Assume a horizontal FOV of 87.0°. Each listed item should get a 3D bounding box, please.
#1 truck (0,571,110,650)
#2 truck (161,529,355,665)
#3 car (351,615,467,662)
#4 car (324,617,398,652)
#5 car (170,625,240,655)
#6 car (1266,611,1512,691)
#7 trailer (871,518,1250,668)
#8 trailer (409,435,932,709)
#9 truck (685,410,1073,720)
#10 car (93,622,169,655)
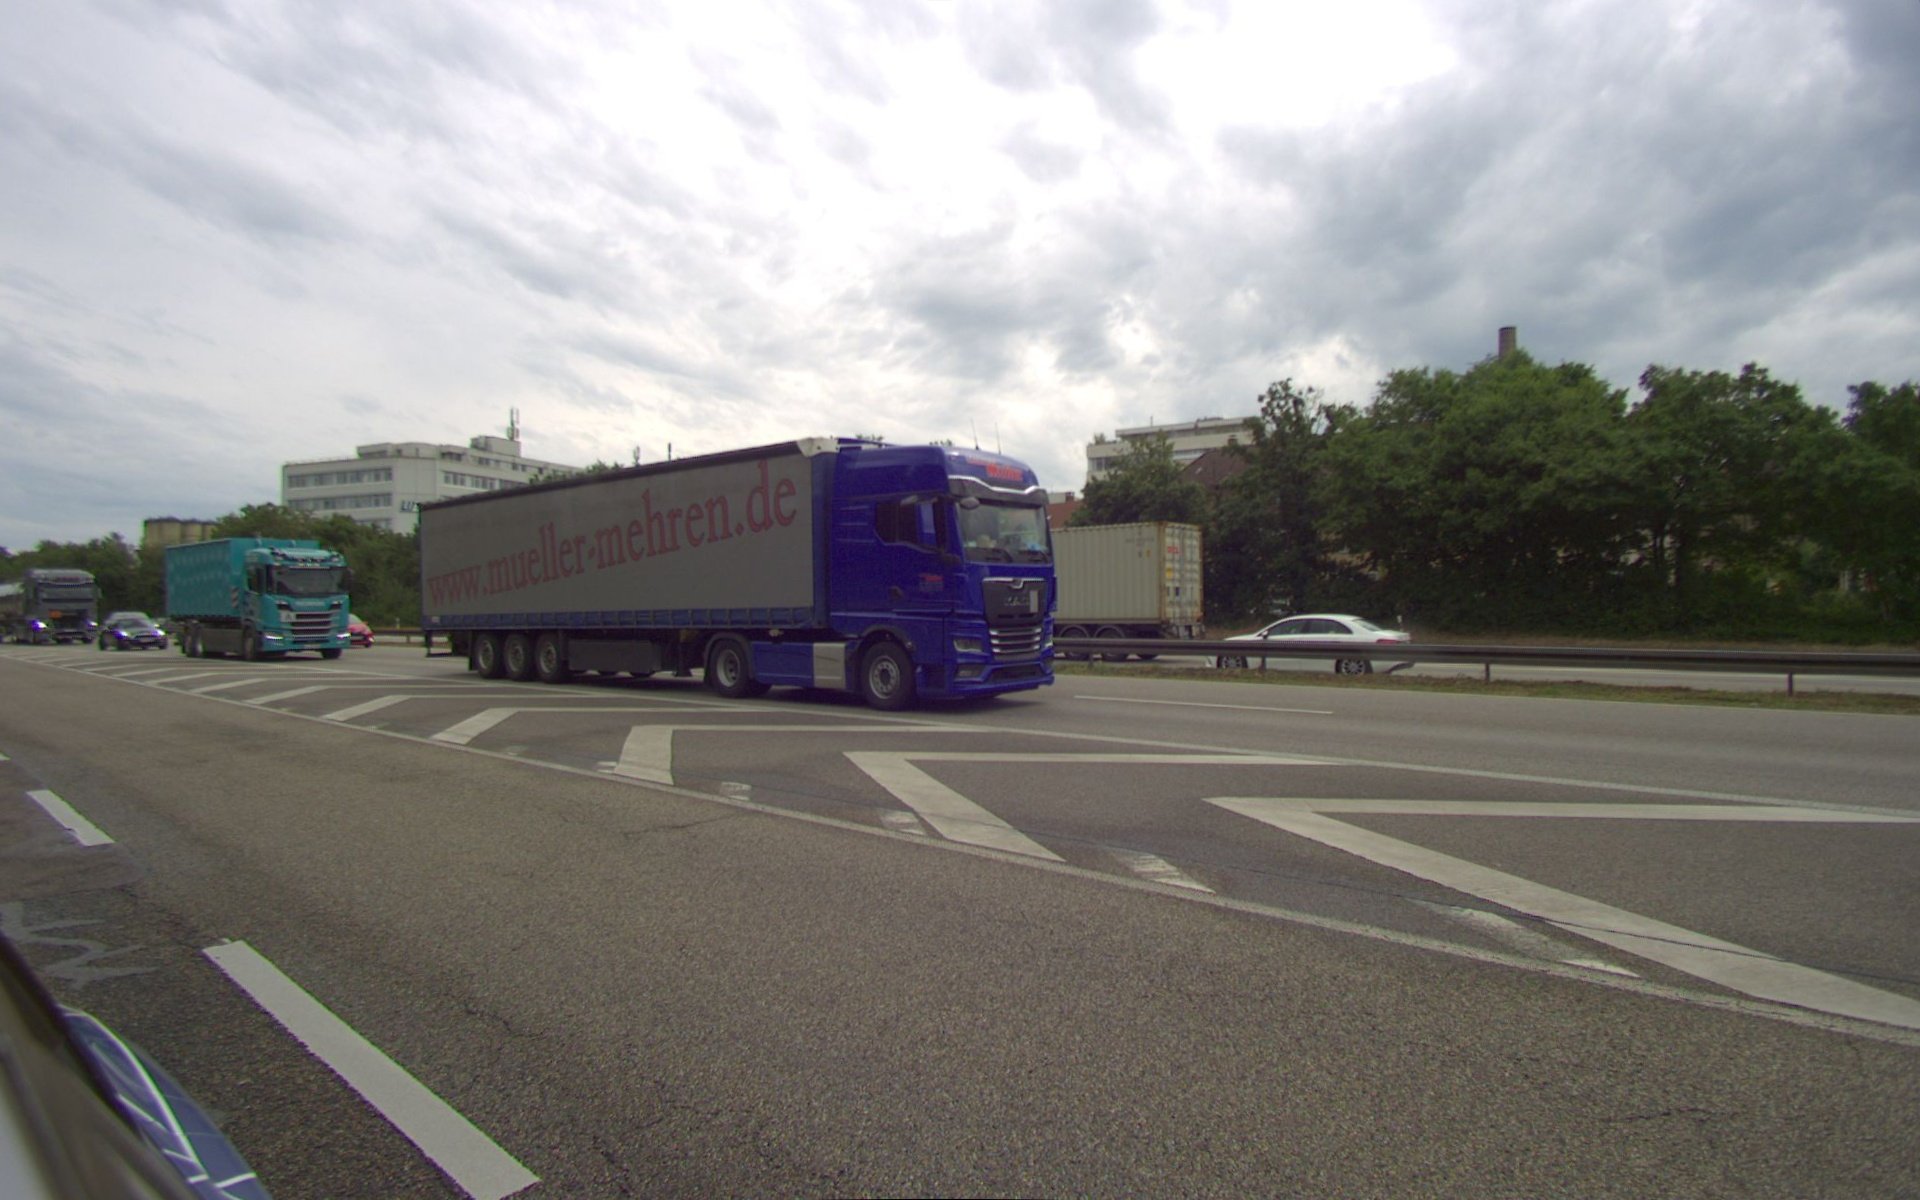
[{"bbox_3d":[-50.777,0.640,55.715,13.123,3.955,3.288,-1,-1,37],"label":"truck"},{"bbox_3d":[-23.884,-0.009,34.125,10.113,4.031,2.667,-1,-1,39],"label":"truck"},{"bbox_3d":[-17.848,1.210,32.740,3.994,1.444,1.875,-1,-1,38],"label":"car"},{"bbox_3d":[-25.308,1.429,42.708,3.446,1.429,1.724,-1,-1,41],"label":"car"},{"bbox_3d":[-38.599,2.005,51.728,4.049,1.444,1.875,-1,-1,38],"label":"car"},{"bbox_3d":[9.056,1.022,21.563,4.460,1.520,1.974,-1,-1,39],"label":"car"},{"bbox_3d":[2.621,-0.077,32.609,13.066,4.060,2.373,-1,-1,40],"label":"trailer"},{"bbox_3d":[-6.672,-0.300,20.234,13.906,4.005,2.646,-1,-1,40],"label":"trailer"},{"bbox_3d":[-1.452,-0.406,15.937,5.921,3.991,2.642,-1,-1,39],"label":"truck"},{"bbox_3d":[-35.906,1.641,43.805,3.995,1.332,1.735,-1,-1,39],"label":"car"}]
